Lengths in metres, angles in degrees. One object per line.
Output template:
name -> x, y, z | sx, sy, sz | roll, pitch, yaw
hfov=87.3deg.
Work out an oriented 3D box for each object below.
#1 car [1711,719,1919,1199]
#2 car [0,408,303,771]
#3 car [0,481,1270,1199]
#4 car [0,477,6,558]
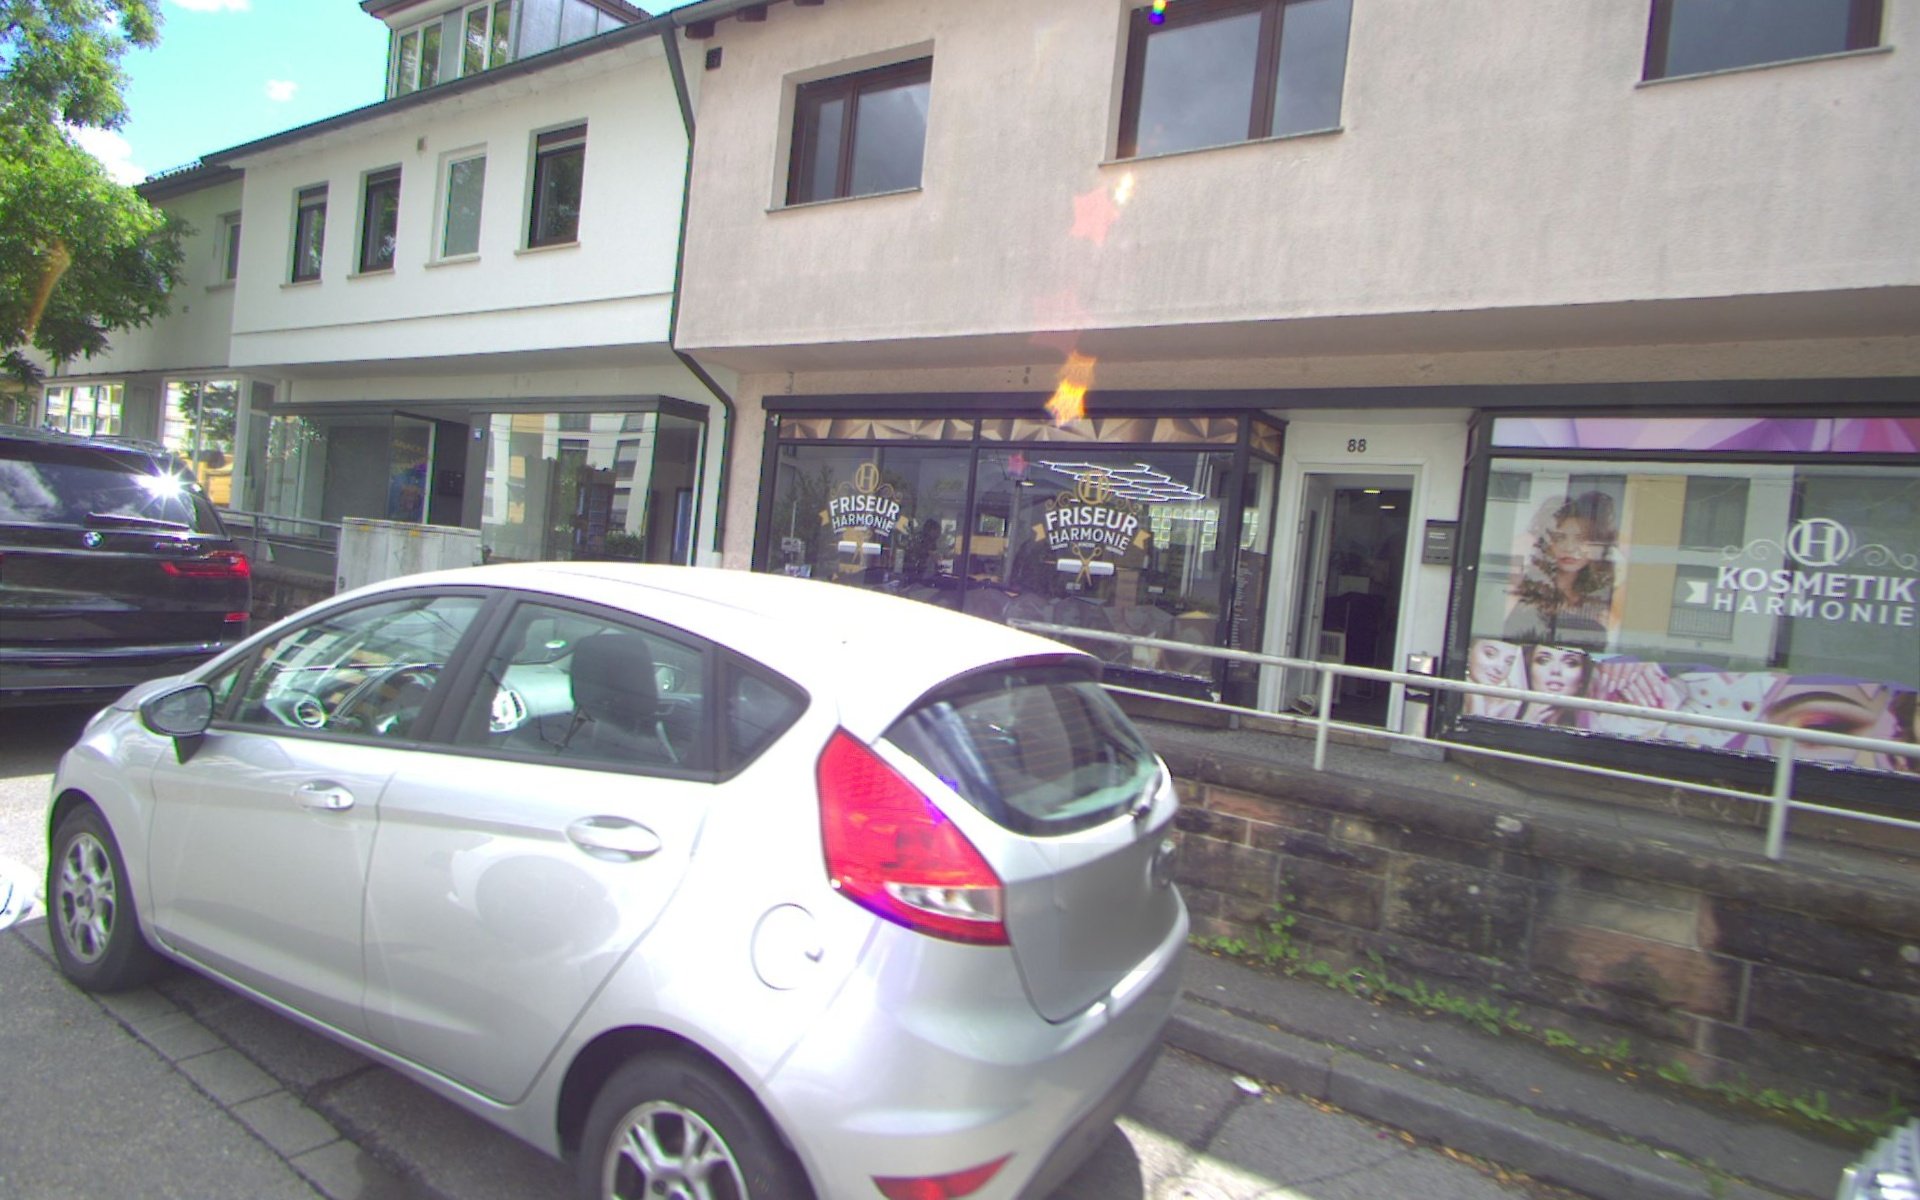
car -> 2.974, 1.127, 0.571 | 3.937, 1.367, 1.770 | 7, 3, 36
car -> -6.685, -0.263, 6.651 | 4.993, 1.811, 2.016 | 7, 1, 33
car -> -1.230, 0.532, 3.200 | 3.833, 1.462, 1.772 | 7, 3, 30
car -> -11.583, -0.688, 10.090 | 4.171, 1.525, 1.836 | 7, 1, 31
